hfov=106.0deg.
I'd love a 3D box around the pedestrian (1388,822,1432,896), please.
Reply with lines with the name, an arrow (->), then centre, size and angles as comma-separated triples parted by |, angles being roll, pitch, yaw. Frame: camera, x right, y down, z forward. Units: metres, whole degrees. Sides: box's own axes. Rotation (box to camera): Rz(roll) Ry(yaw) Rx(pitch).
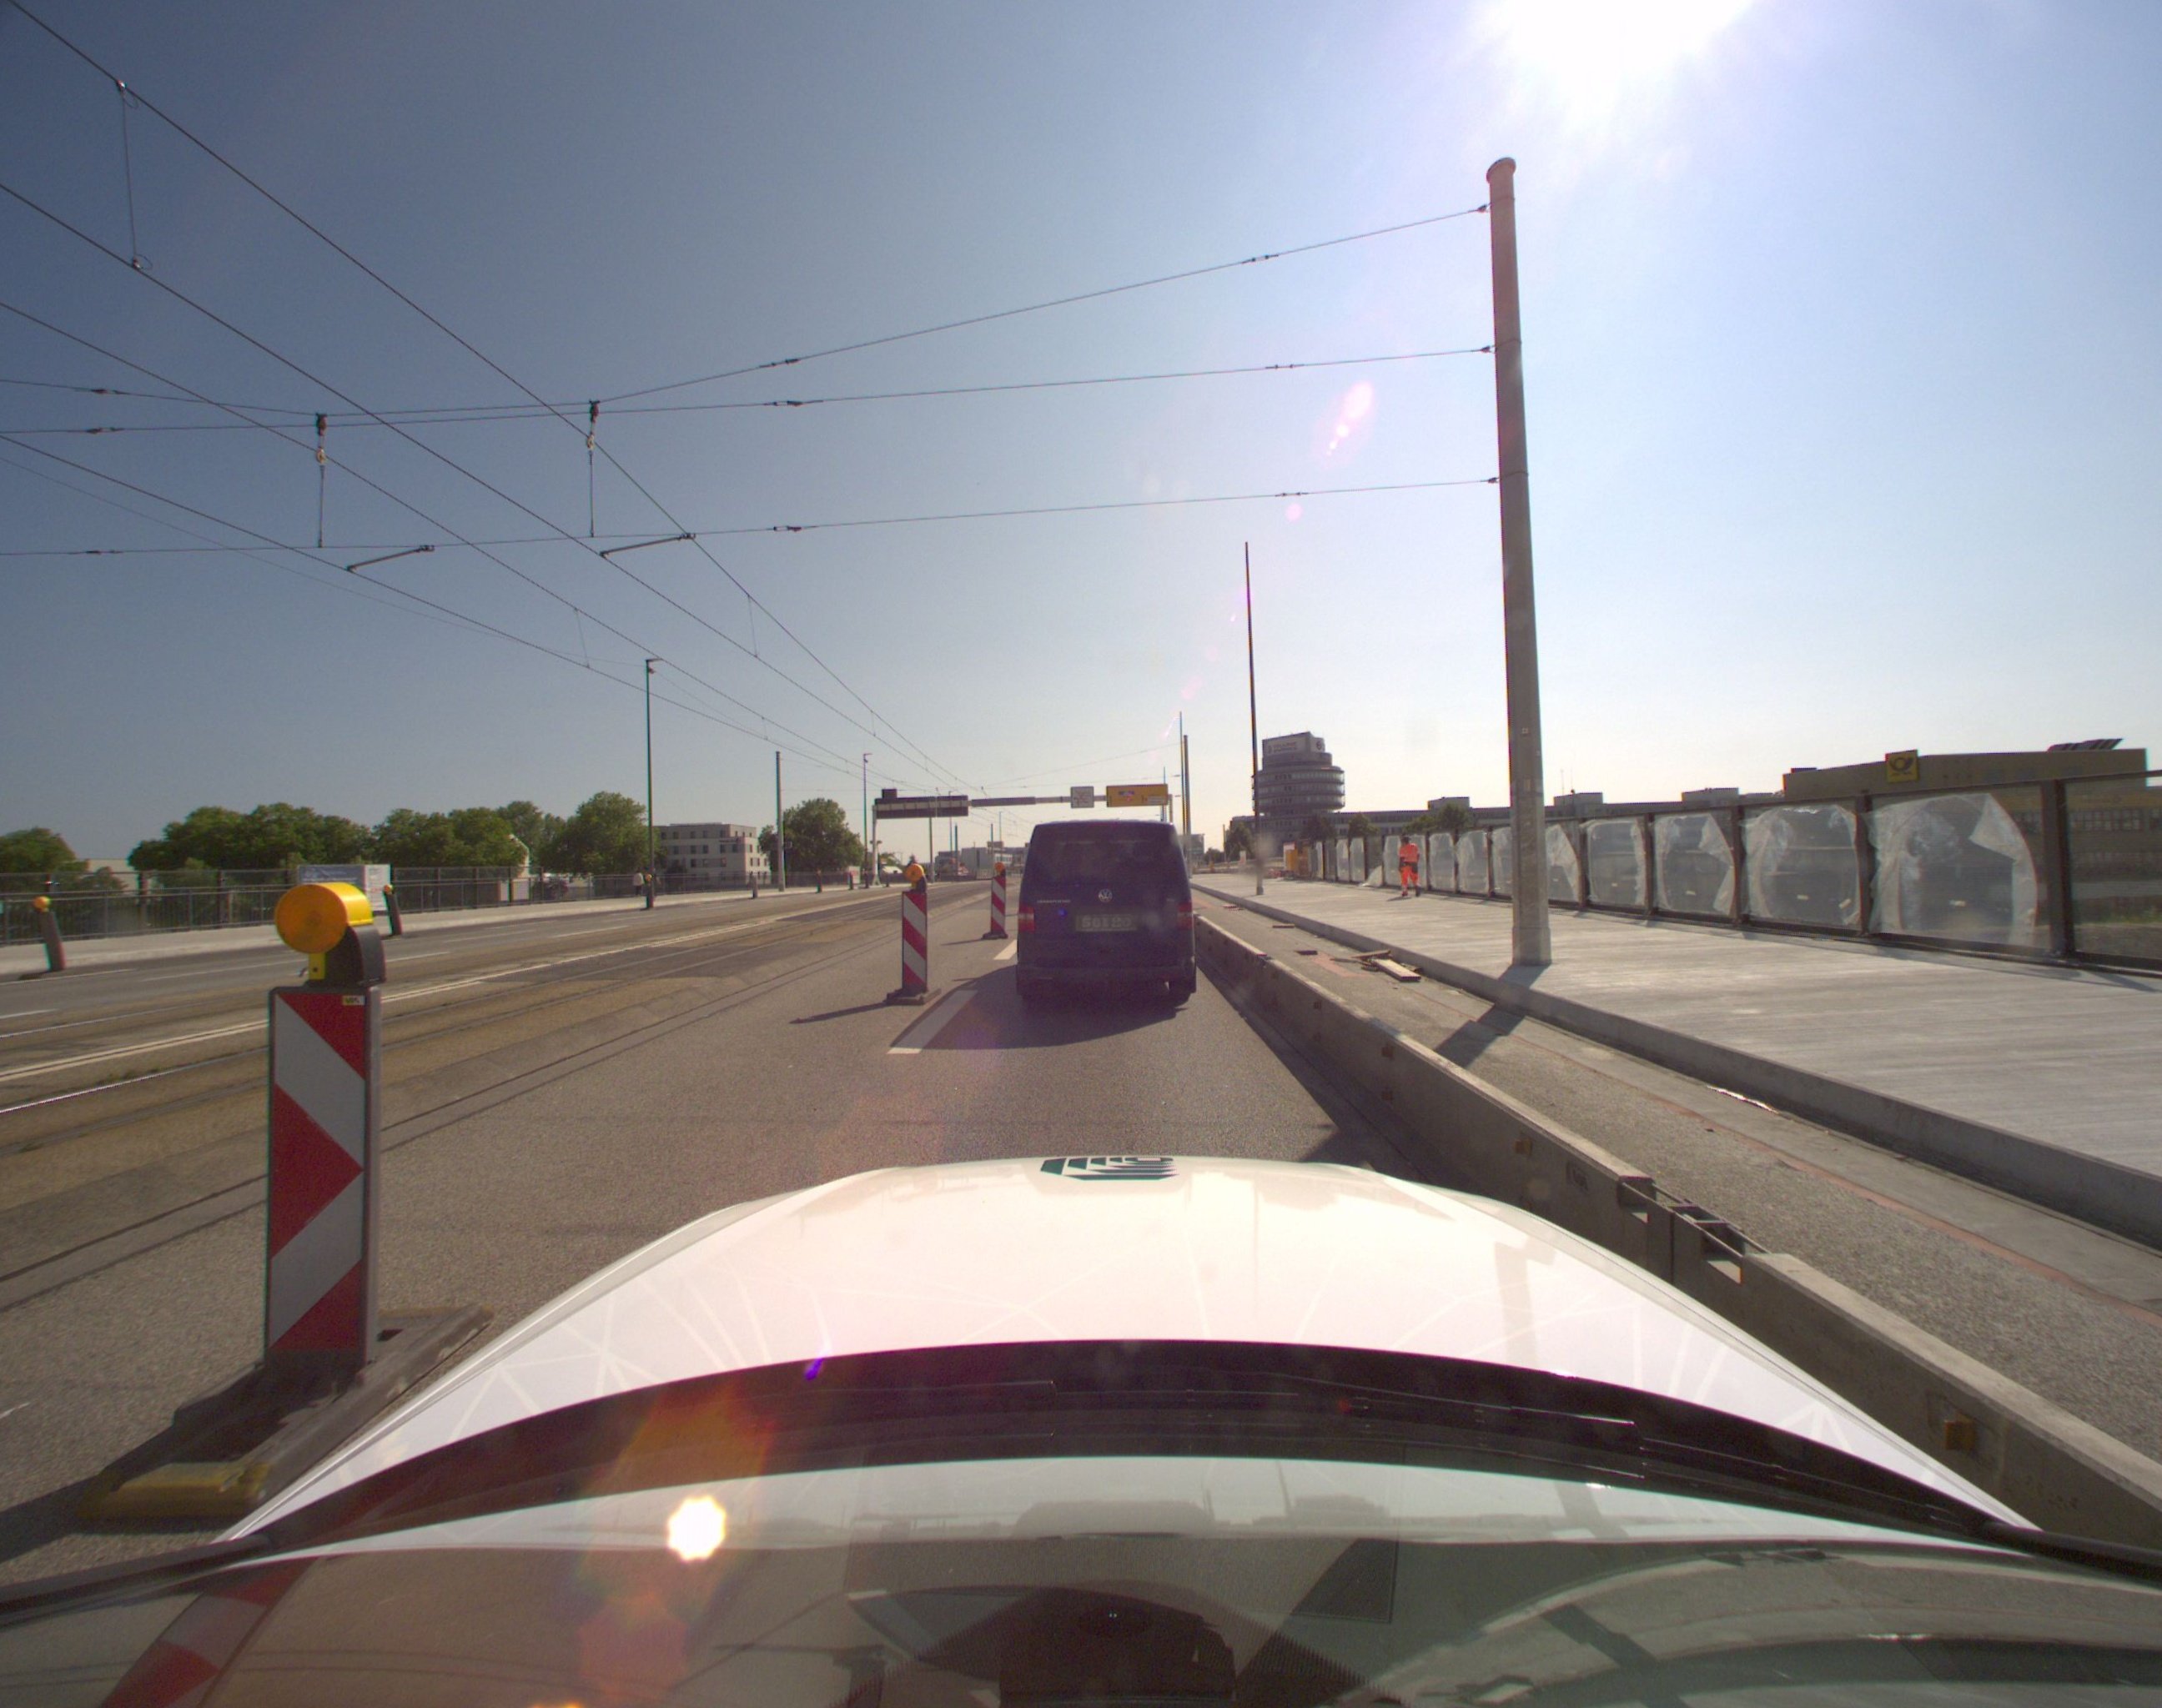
pedestrian -> 9.072, 0.151, 22.481 | 0.728, 1.965, 1.017 | -3, -1, 2

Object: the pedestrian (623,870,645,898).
pedestrian -> -25.082, 1.684, 45.710 | 0.717, 1.544, 0.889 | 1, -1, 2

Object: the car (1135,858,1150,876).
car -> 10.139, 2.102, 133.616 | 2.329, 2.887, 5.975 | 0, -1, 3

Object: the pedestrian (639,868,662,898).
pedestrian -> -24.173, 1.640, 45.726 | 0.741, 1.642, 0.895 | 1, -1, 2

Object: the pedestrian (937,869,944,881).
pedestrian -> -19.687, 2.956, 113.886 | 0.749, 1.687, 0.733 | -2, -1, 5

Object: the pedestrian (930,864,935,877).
pedestrian -> -20.222, 2.224, 110.941 | 0.483, 1.687, 0.809 | -2, -1, 5

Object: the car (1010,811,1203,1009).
car -> 0.308, 0.584, 9.970 | 1.881, 1.934, 4.001 | 0, -1, 2

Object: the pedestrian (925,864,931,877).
pedestrian -> -20.789, 2.260, 110.592 | 0.594, 1.687, 0.819 | -2, -1, 5
